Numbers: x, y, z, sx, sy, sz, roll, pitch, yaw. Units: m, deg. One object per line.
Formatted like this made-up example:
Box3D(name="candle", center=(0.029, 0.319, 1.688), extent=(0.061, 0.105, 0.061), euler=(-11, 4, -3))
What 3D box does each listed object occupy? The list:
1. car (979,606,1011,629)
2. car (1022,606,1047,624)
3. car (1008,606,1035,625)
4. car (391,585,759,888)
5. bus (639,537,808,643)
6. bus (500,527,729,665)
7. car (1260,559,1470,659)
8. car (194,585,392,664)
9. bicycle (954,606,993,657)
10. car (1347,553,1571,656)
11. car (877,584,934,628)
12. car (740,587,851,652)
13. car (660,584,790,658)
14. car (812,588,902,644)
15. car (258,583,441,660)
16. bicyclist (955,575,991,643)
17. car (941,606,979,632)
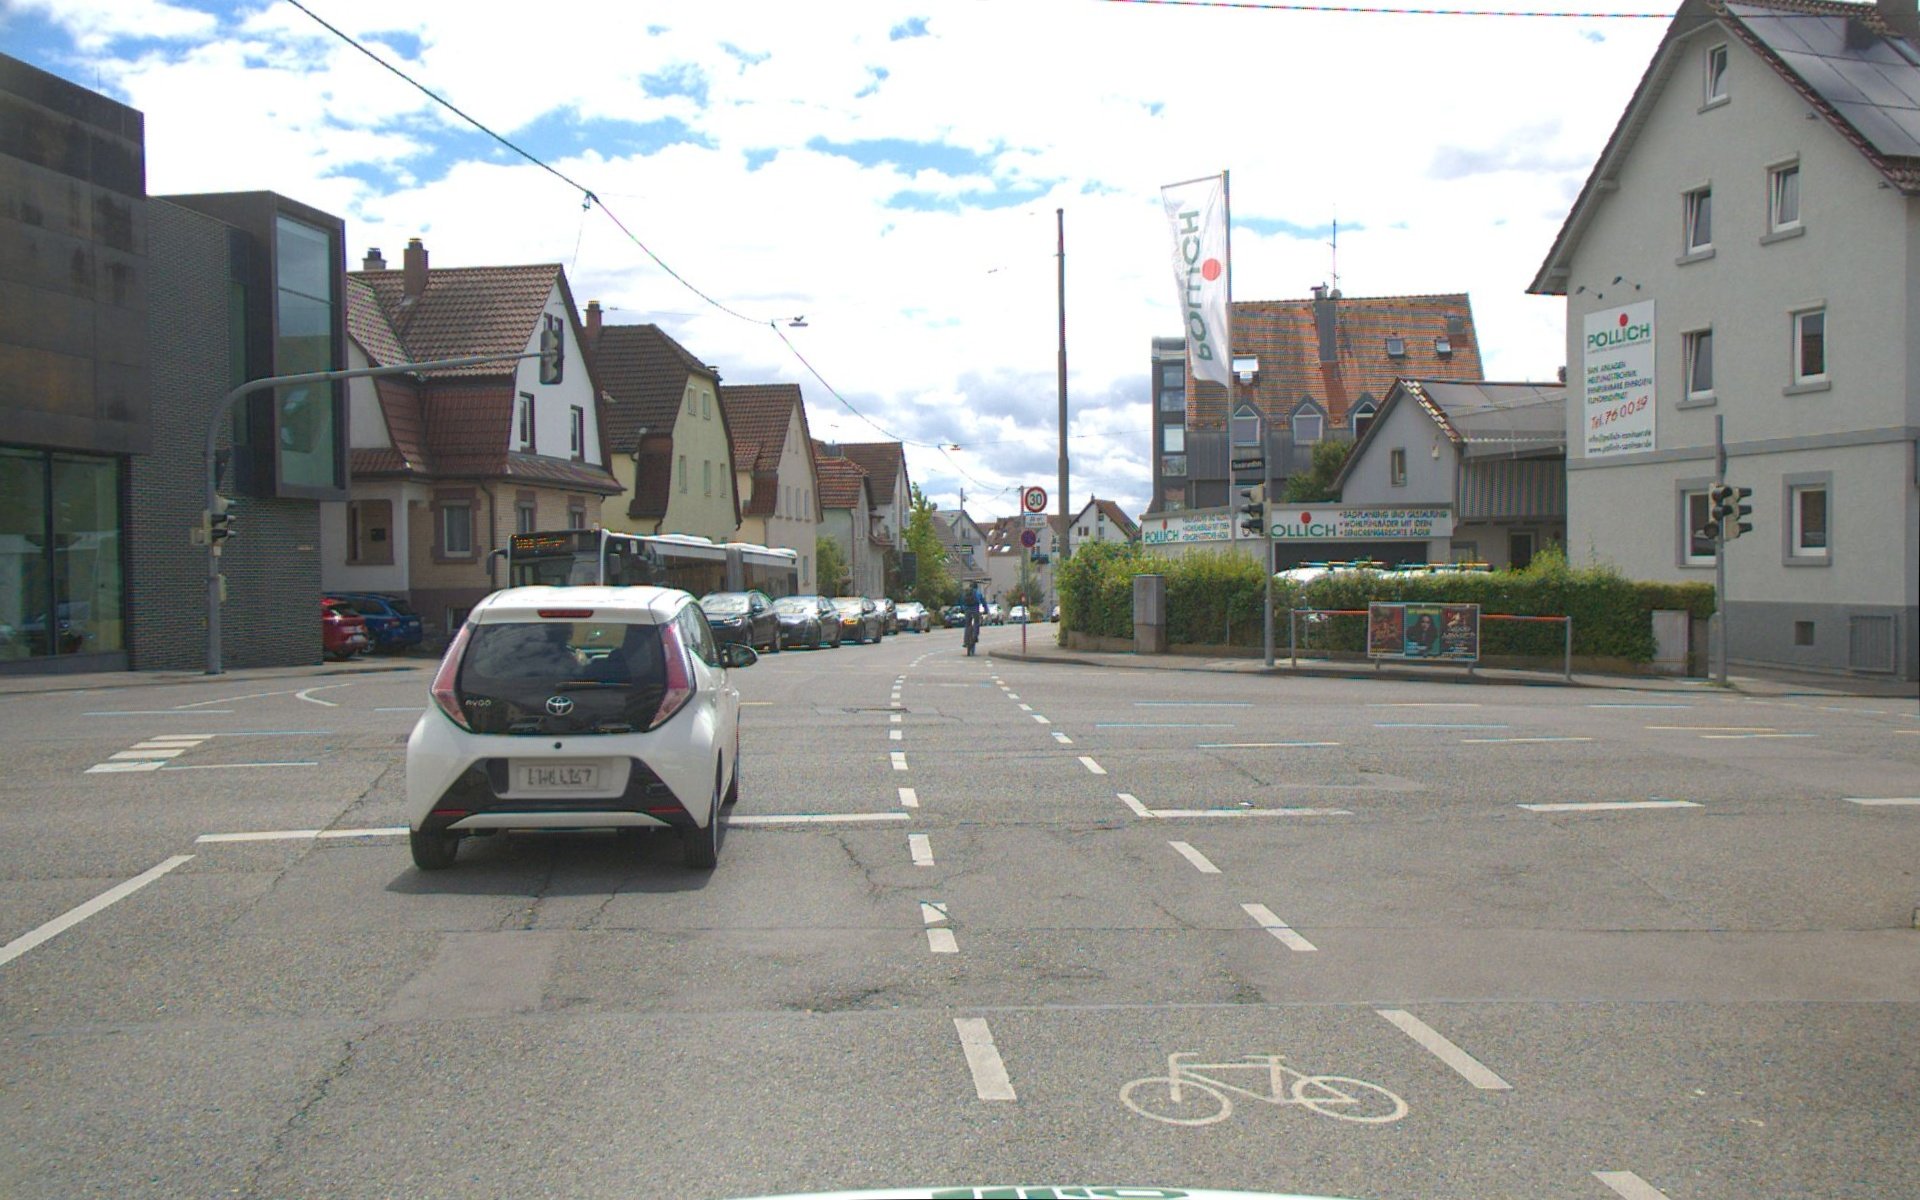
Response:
Box3D(name="car", center=(2.706, 1.309, 127.239), extent=(1.951, 1.668, 4.004), euler=(0, 1, 10))
Box3D(name="car", center=(7.221, 1.429, 159.516), extent=(1.951, 1.668, 4.004), euler=(0, 1, 10))
Box3D(name="car", center=(5.628, 1.392, 150.412), extent=(1.951, 1.668, 4.004), euler=(0, 1, 10))
Box3D(name="car", center=(-2.121, 0.657, 9.993), extent=(1.705, 1.486, 3.528), euler=(0, 0, -6))
Box3D(name="bus", center=(-7.077, -0.343, 51.056), extent=(2.718, 2.965, 9.199), euler=(0, 1, 8))
Box3D(name="bus", center=(-8.465, -0.134, 41.948), extent=(2.718, 3.113, 9.199), euler=(0, 1, 8))
Box3D(name="car", center=(8.667, 0.173, 35.497), extent=(3.922, 2.049, 1.991), euler=(0, 0, -16))
Box3D(name="car", center=(-16.144, 0.572, 40.136), extent=(3.903, 1.668, 2.001), euler=(3, 1, 6))
Box3D(name="bicycle", center=(0.314, 0.755, 40.584), extent=(0.815, 1.184, 2.190), euler=(0, 0, -3))
Box3D(name="car", center=(10.070, 0.081, 33.447), extent=(3.923, 1.982, 1.991), euler=(0, 0, -17))
Box3D(name="car", center=(-2.609, 0.260, 80.247), extent=(1.951, 2.049, 4.004), euler=(0, 1, 10))
Box3D(name="car", center=(-4.415, 0.494, 44.976), extent=(1.951, 1.668, 4.187), euler=(0, 1, 10))
Box3D(name="car", center=(-5.565, 0.452, 39.701), extent=(1.951, 1.668, 4.004), euler=(0, 1, 10))
Box3D(name="car", center=(-3.182, 0.464, 51.834), extent=(1.951, 1.668, 4.004), euler=(0, 1, 10))
Box3D(name="car", center=(-15.838, 0.529, 43.038), extent=(3.903, 1.713, 2.001), euler=(3, 1, 6))
Box3D(name="bicyclist", center=(0.311, 0.223, 40.666), extent=(0.824, 1.642, 1.082), euler=(0, 0, -3))
Box3D(name="car", center=(0.011, 1.255, 112.405), extent=(1.951, 1.668, 4.004), euler=(0, 1, 10))
